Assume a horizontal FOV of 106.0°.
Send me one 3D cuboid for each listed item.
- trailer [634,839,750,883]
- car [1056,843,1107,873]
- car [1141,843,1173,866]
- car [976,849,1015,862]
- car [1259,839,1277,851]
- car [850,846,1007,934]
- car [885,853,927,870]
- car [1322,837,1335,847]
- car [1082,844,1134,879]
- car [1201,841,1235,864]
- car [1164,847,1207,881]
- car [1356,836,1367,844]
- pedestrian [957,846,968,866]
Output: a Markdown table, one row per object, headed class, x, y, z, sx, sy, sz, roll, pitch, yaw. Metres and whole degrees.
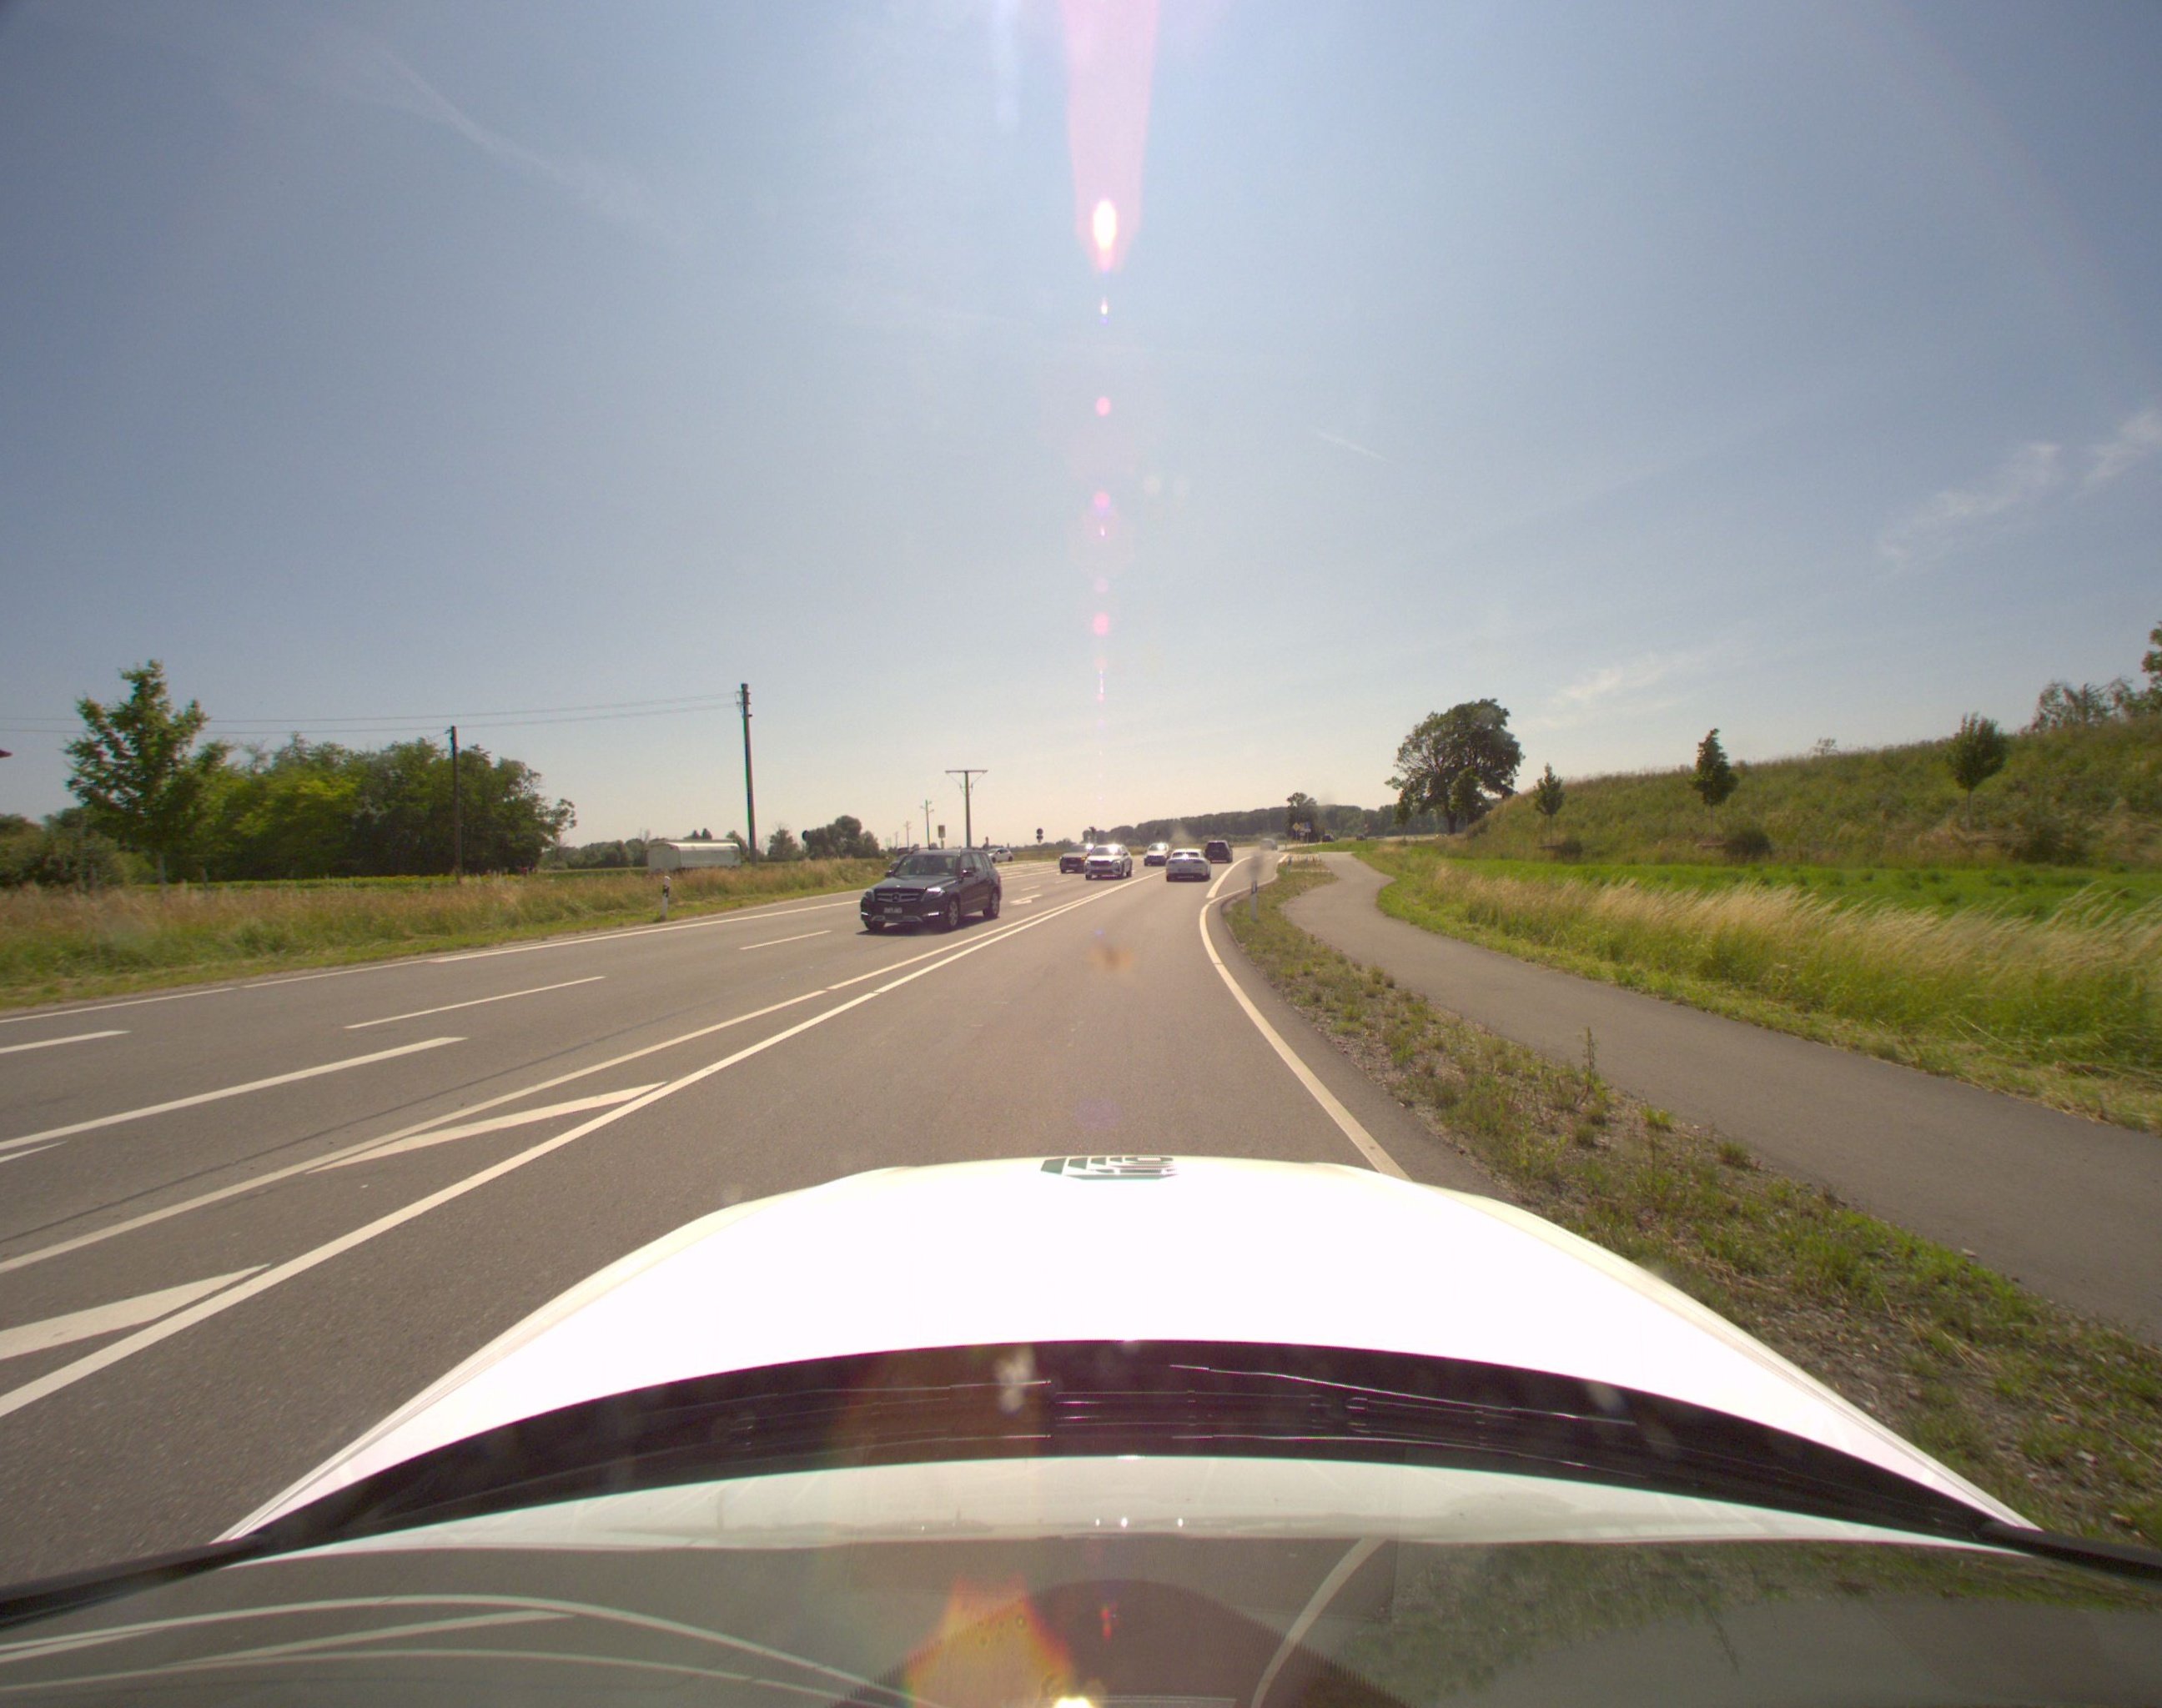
| class | x | y | z | sx | sy | sz | roll | pitch | yaw |
| --- | --- | --- | --- | --- | --- | --- | --- | --- | --- |
| trailer | -23.302 | 0.367 | 49.173 | 2.657 | 2.455 | 6.410 | -1 | 1 | 16 |
| car | 0.114 | 0.176 | 48.970 | 1.948 | 1.650 | 4.808 | -1 | 1 | 14 |
| car | 5.472 | -0.016 | 58.248 | 1.720 | 1.555 | 4.395 | -1 | 1 | 12 |
| car | -8.616 | 0.136 | 81.929 | 1.675 | 1.332 | 4.063 | -1 | 0 | 34 |
| car | 23.271 | -1.063 | 101.229 | 1.785 | 1.429 | 4.111 | 0 | -1 | 18 |
| car | -3.127 | 0.672 | 17.701 | 1.854 | 1.650 | 4.340 | -1 | 0 | 11 |
| car | -14.419 | 0.590 | 67.266 | 1.660 | 1.387 | 3.857 | -1 | 0 | 19 |
| car | 45.014 | -2.164 | 147.874 | 1.784 | 1.476 | 4.438 | -3 | -1 | 22 |
| car | 1.429 | 0.331 | 40.947 | 1.866 | 1.650 | 4.857 | -1 | 0 | 10 |
| car | 10.401 | -0.077 | 61.645 | 1.920 | 1.616 | 4.397 | -3 | -1 | 16 |
| car | 4.864 | 0.449 | 37.624 | 1.837 | 1.433 | 4.619 | -1 | 0 | 8 |
| car | 64.652 | -3.159 | 187.529 | 1.783 | 1.521 | 3.907 | -6 | -1 | 28 |
| pedestrian | -10.520 | 0.173 | 72.107 | 0.603 | 1.785 | 0.851 | -1 | 0 | 21 |
